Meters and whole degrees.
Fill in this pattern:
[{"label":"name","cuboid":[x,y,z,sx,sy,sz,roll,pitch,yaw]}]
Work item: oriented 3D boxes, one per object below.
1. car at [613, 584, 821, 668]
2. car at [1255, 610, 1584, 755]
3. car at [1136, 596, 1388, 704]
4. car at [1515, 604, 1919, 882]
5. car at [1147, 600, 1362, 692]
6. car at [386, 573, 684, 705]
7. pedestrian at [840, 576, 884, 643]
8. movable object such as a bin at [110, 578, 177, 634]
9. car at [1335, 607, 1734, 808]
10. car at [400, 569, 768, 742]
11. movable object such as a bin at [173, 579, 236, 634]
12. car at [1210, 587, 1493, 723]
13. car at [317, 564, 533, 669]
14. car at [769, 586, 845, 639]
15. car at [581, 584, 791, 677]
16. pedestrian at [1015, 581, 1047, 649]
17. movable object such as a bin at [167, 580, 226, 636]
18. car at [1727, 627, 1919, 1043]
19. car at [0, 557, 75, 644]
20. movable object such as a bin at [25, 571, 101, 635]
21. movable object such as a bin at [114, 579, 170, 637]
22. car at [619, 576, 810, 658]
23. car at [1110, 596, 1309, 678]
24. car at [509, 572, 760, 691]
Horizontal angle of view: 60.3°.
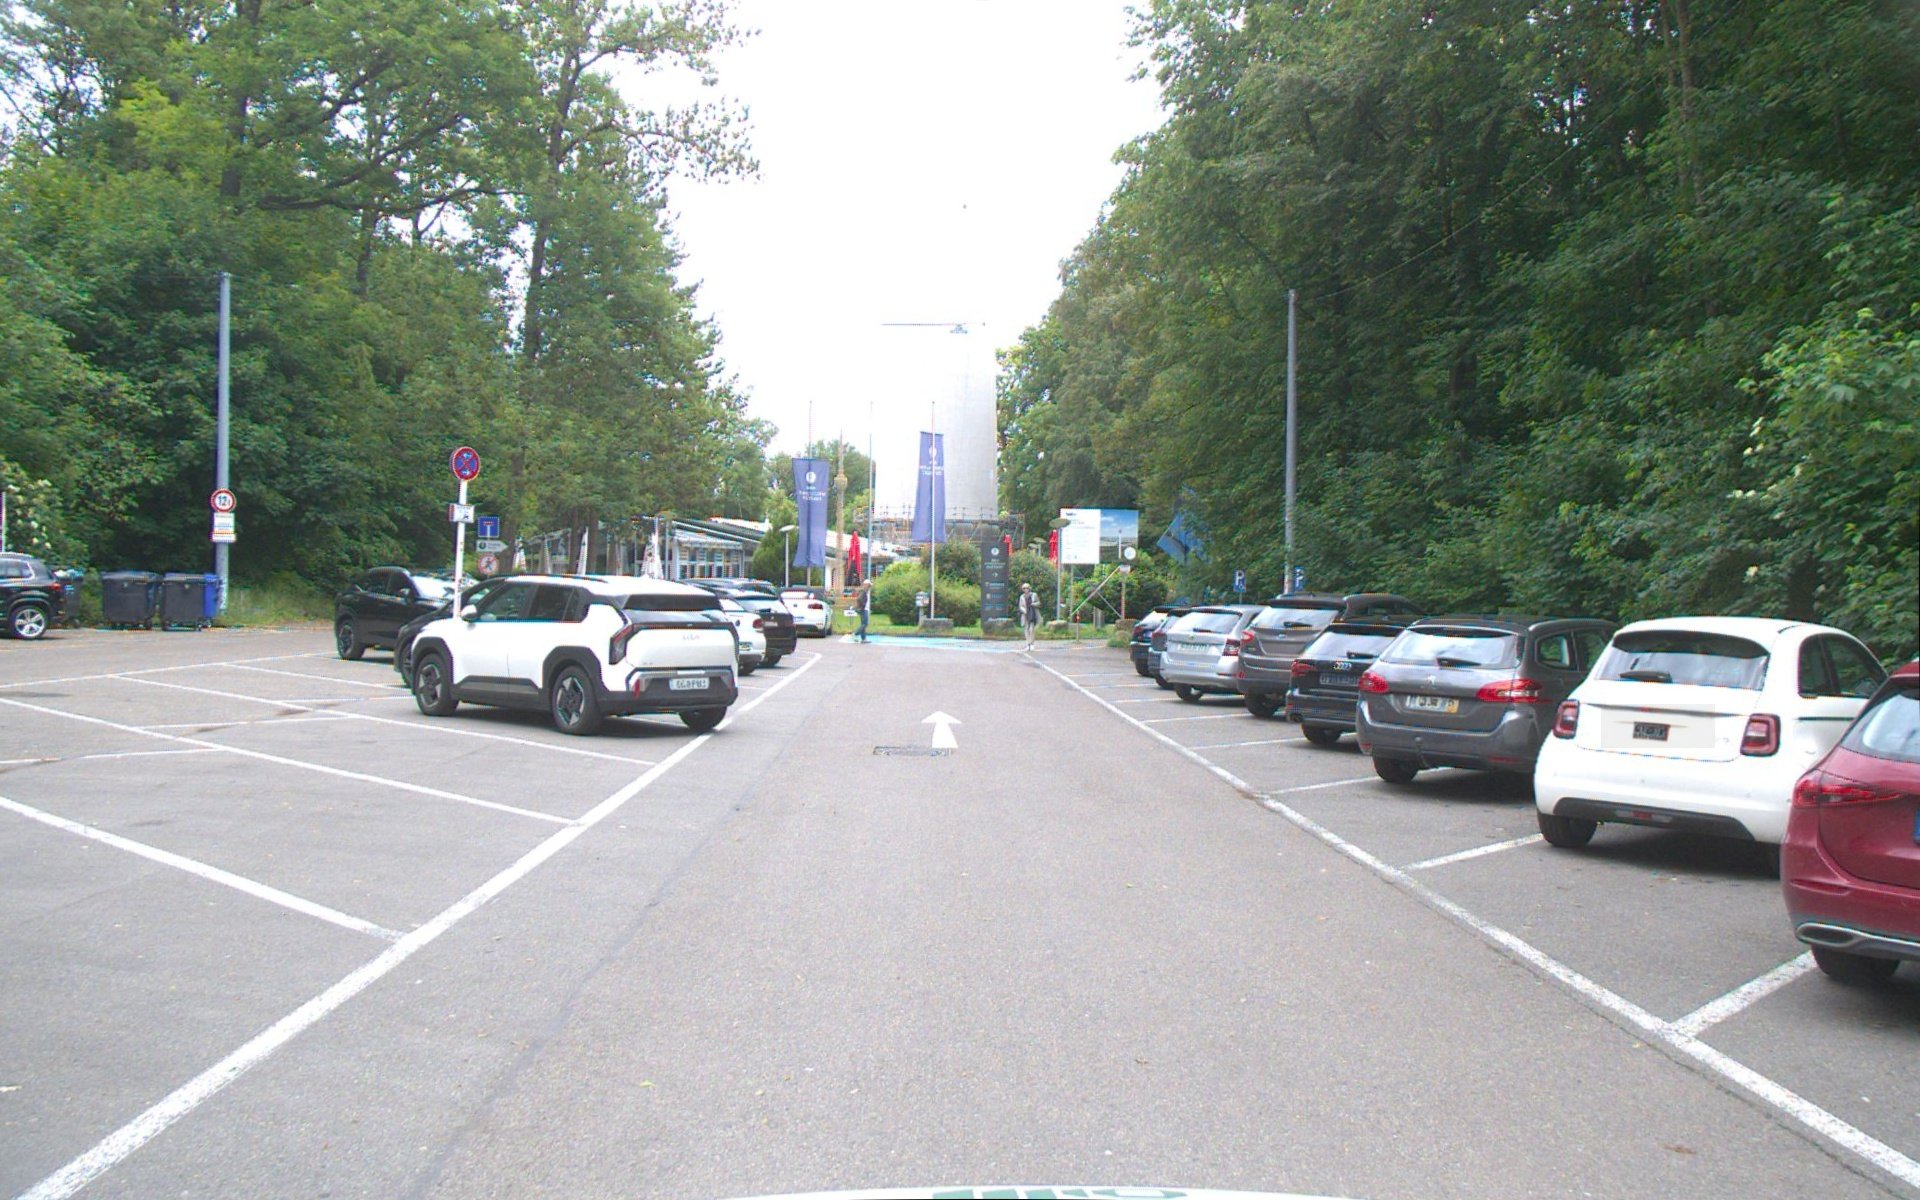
[{"label":"car","cuboid":[-4.780,0.470,32.247,4.203,1.468,1.749,2,0,42]},{"label":"car","cuboid":[5.276,0.841,18.653,1.930,1.401,4.238,1,0,41]},{"label":"car","cuboid":[4.723,0.716,25.594,3.966,1.492,1.807,0,1,-42]},{"label":"car","cuboid":[5.410,0.825,11.210,3.555,1.531,1.707,1,0,-45]},{"label":"car","cuboid":[5.228,0.773,29.101,1.877,1.447,3.974,2,0,43]},{"label":"car","cuboid":[-5.765,0.458,22.281,3.922,1.581,1.865,1,1,37]},{"label":"pedestrian","cuboid":[-2.651,0.254,44.876,0.877,1.755,0.763,1,0,29]},{"label":"movable object such as a bin","cuboid":[-20.242,0.137,41.045,1.101,1.343,1.239,1,0,-6]},{"label":"car","cuboid":[5.185,0.830,14.622,1.774,1.483,4.158,1,0,44]},{"label":"car","cuboid":[-4.141,0.508,17.886,4.115,1.624,1.836,2,1,42]},{"label":"movable object such as a bin","cuboid":[-19.176,0.154,42.013,1.232,1.348,1.142,1,0,-14]},{"label":"car","cuboid":[5.463,0.698,22.761,1.932,1.665,4.234,1,0,43]},{"label":"car","cuboid":[-9.428,0.254,29.036,3.929,1.692,1.887,2,0,42]},{"label":"car","cuboid":[-4.500,0.342,49.121,1.854,1.453,4.000,1,1,0]},{"label":"car","cuboid":[-4.863,0.494,29.108,3.781,1.468,1.760,2,0,44]},{"label":"pedestrian","cuboid":[1.858,0.386,43.154,0.745,1.755,0.897,1,0,6]},{"label":"movable object such as a bin","cuboid":[-18.383,0.186,39.824,1.157,1.330,1.300,1,0,-31]},{"label":"car","cuboid":[5.135,0.876,7.045,4.260,1.438,1.898,1,0,-42]},{"label":"car","cuboid":[-19.941,-0.018,32.603,1.849,1.714,4.042,1,0,45]},{"label":"movable object such as a bin","cuboid":[-20.904,0.072,38.575,1.100,1.450,1.131,1,0,2]},{"label":"movable object such as a bin","cuboid":[-19.396,0.179,39.214,1.112,1.337,1.172,1,0,-31]},{"label":"car","cuboid":[-5.407,0.338,36.148,4.311,1.637,1.818,2,0,43]},{"label":"car","cuboid":[5.033,0.716,33.027,1.867,1.488,4.176,2,0,44]},{"label":"car","cuboid":[-4.994,0.417,25.107,3.909,1.614,1.835,2,1,44]}]
